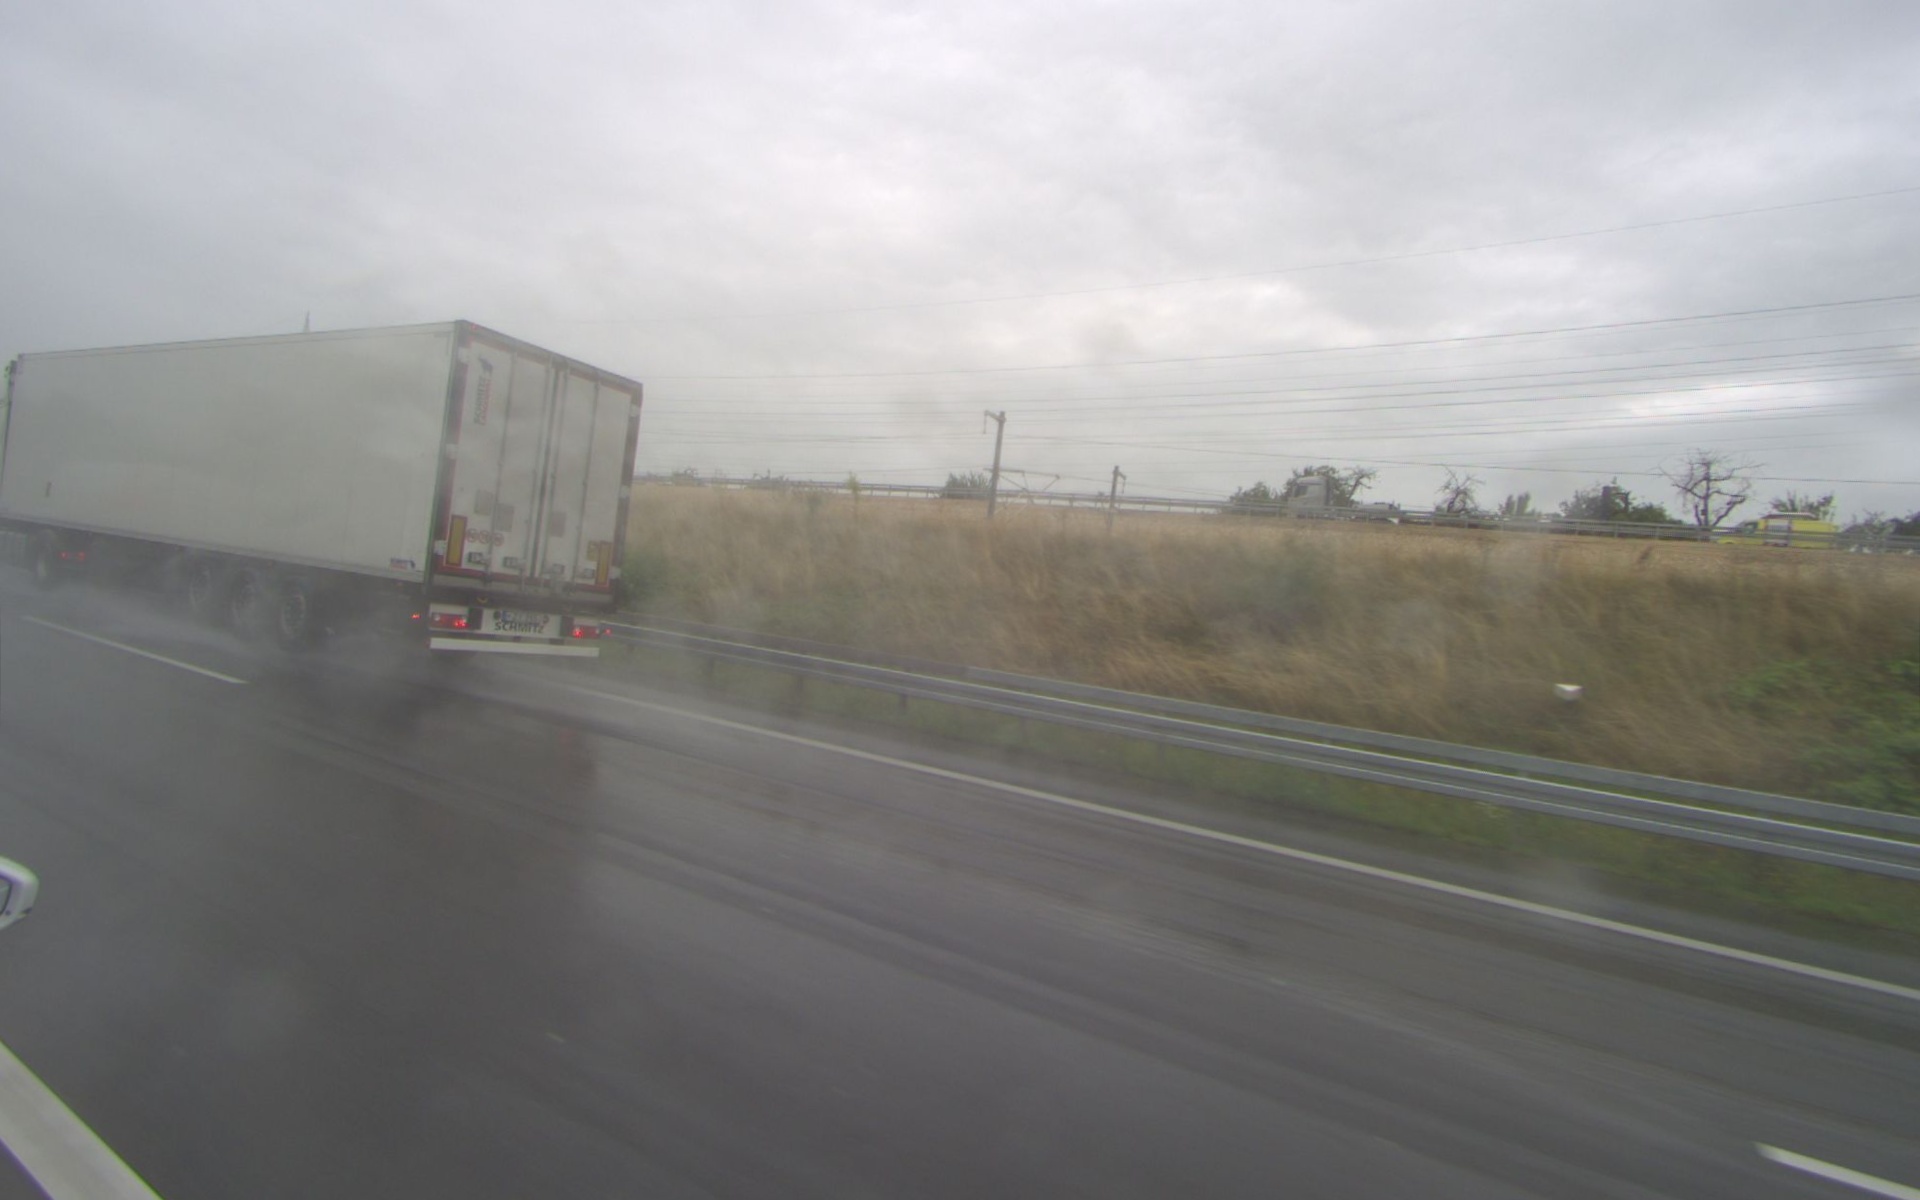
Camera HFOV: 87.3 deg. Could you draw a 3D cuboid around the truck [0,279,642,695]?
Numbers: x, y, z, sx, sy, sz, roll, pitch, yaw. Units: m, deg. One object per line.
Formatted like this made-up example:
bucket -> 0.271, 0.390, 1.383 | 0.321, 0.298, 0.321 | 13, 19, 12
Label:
truck -> -12.258, -1.999, 16.663 | 16.076, 4.642, 3.046 | 7, -1, 31
